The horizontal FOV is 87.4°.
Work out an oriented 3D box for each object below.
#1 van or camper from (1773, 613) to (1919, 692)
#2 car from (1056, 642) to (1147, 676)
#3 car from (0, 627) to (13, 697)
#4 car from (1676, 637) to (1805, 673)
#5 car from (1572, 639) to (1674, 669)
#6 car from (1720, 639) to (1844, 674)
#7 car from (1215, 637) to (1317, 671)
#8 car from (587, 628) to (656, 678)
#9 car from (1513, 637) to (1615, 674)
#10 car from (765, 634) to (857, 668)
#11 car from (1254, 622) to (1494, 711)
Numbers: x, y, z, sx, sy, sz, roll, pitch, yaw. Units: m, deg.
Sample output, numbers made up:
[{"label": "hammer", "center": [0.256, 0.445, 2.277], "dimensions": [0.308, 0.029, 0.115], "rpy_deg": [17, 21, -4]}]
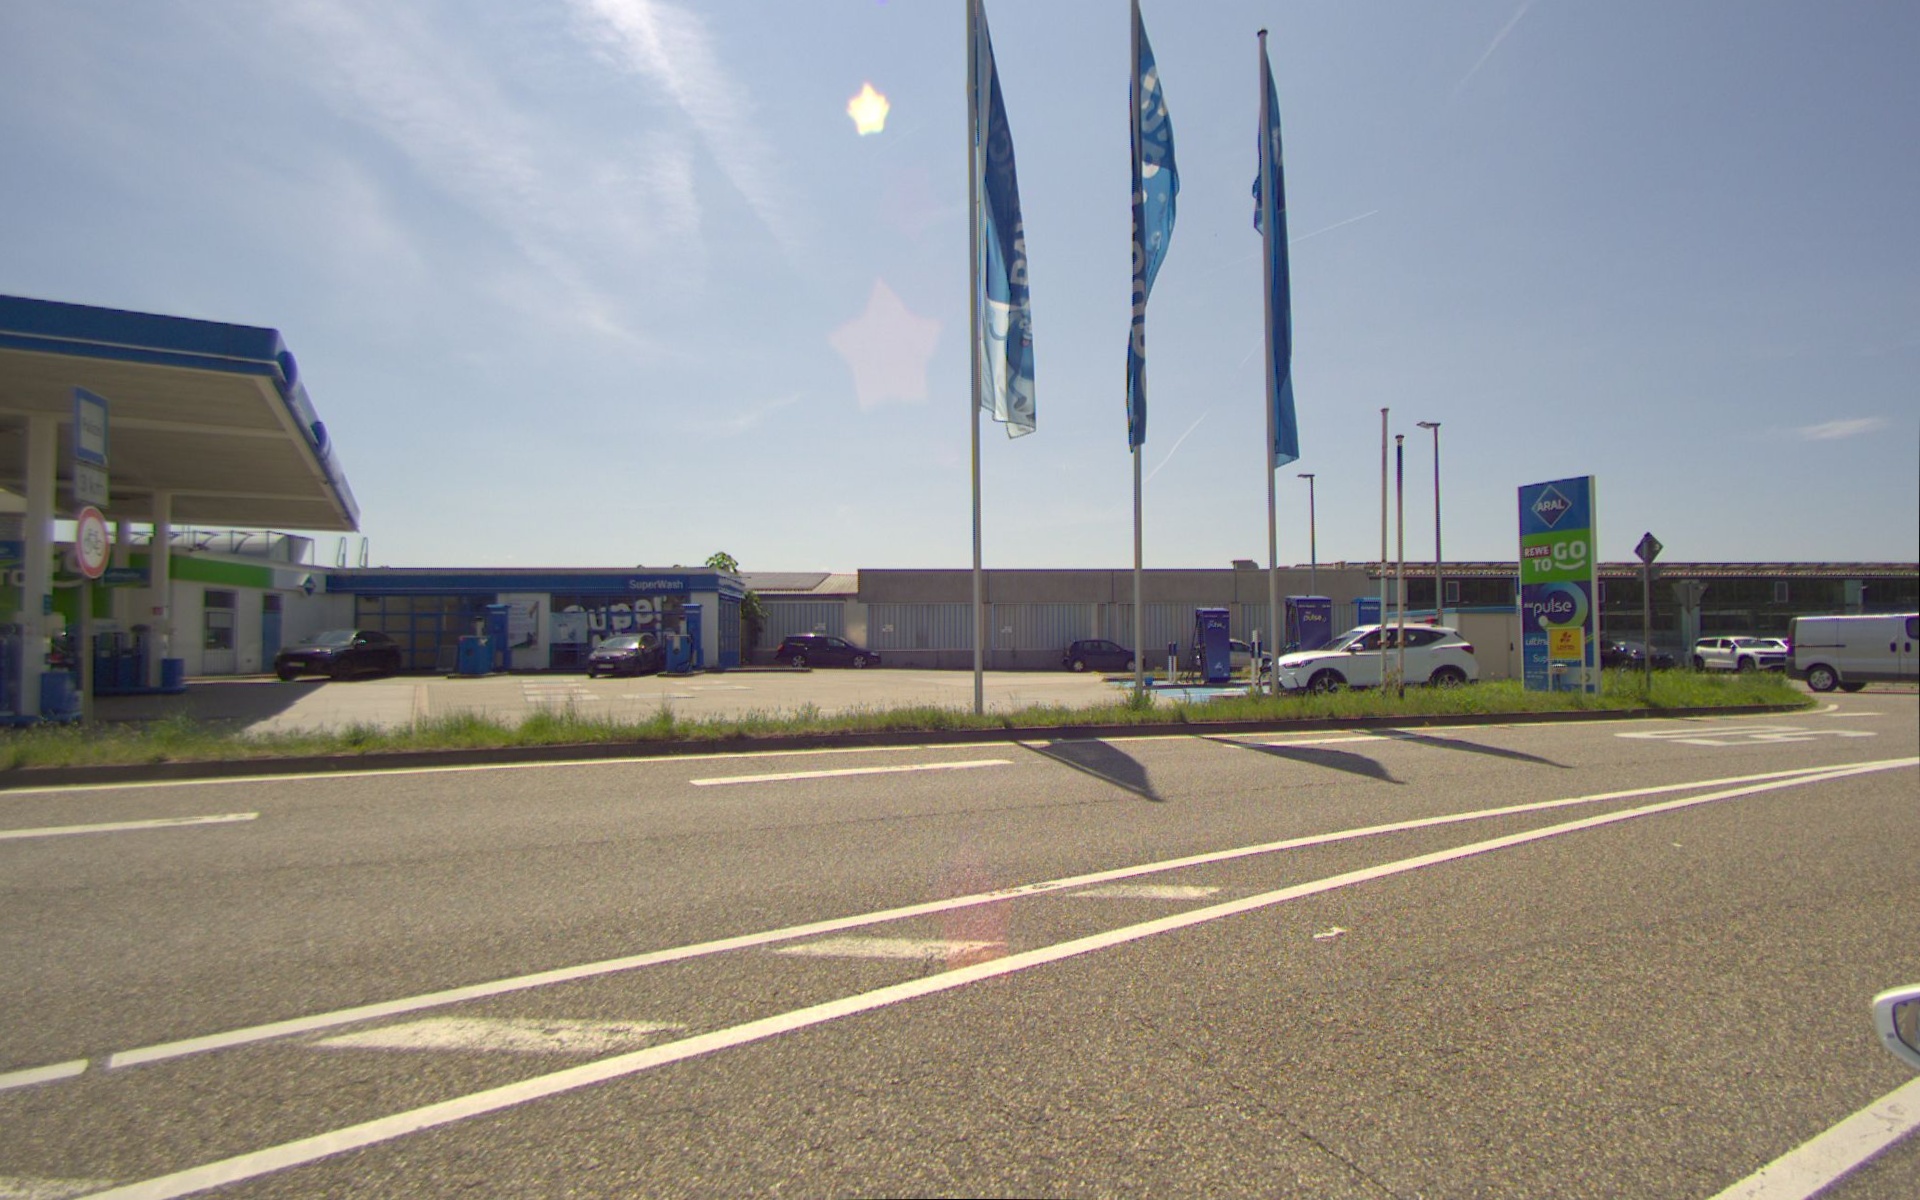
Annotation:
[{"label": "van or camper", "center": [23.820, 1.332, 25.301], "dimensions": [1.881, 1.929, 4.829], "rpy_deg": [2, -3, -28]}, {"label": "car", "center": [6.392, 2.650, 45.569], "dimensions": [3.825, 1.461, 1.759], "rpy_deg": [0, -2, -3]}, {"label": "car", "center": [-22.264, 1.229, 20.379], "dimensions": [4.056, 1.496, 1.596], "rpy_deg": [2, -6, -28]}, {"label": "car", "center": [34.824, 2.447, 44.995], "dimensions": [1.962, 1.523, 4.592], "rpy_deg": [0, -3, -5]}, {"label": "car", "center": [29.412, 2.386, 44.721], "dimensions": [1.736, 1.263, 3.999], "rpy_deg": [0, -2, -4]}, {"label": "car", "center": [36.968, 2.528, 45.328], "dimensions": [1.962, 1.523, 4.135], "rpy_deg": [0, -3, -5]}, {"label": "car", "center": [13.880, 2.457, 45.725], "dimensions": [4.022, 1.447, 1.919], "rpy_deg": [1, -1, -1]}, {"label": "car", "center": [-11.838, 1.830, 35.344], "dimensions": [1.913, 1.628, 3.990], "rpy_deg": [1, -2, -13]}, {"label": "car", "center": [26.937, 2.438, 44.989], "dimensions": [1.962, 1.550, 3.998], "rpy_deg": [0, -2, -5]}, {"label": "car", "center": [-6.510, 2.231, 44.159], "dimensions": [3.825, 1.461, 1.759], "rpy_deg": [0, -2, -3]}, {"label": "car", "center": [8.882, 1.406, 21.846], "dimensions": [4.429, 1.735, 1.869], "rpy_deg": [2, -1, 2]}]
